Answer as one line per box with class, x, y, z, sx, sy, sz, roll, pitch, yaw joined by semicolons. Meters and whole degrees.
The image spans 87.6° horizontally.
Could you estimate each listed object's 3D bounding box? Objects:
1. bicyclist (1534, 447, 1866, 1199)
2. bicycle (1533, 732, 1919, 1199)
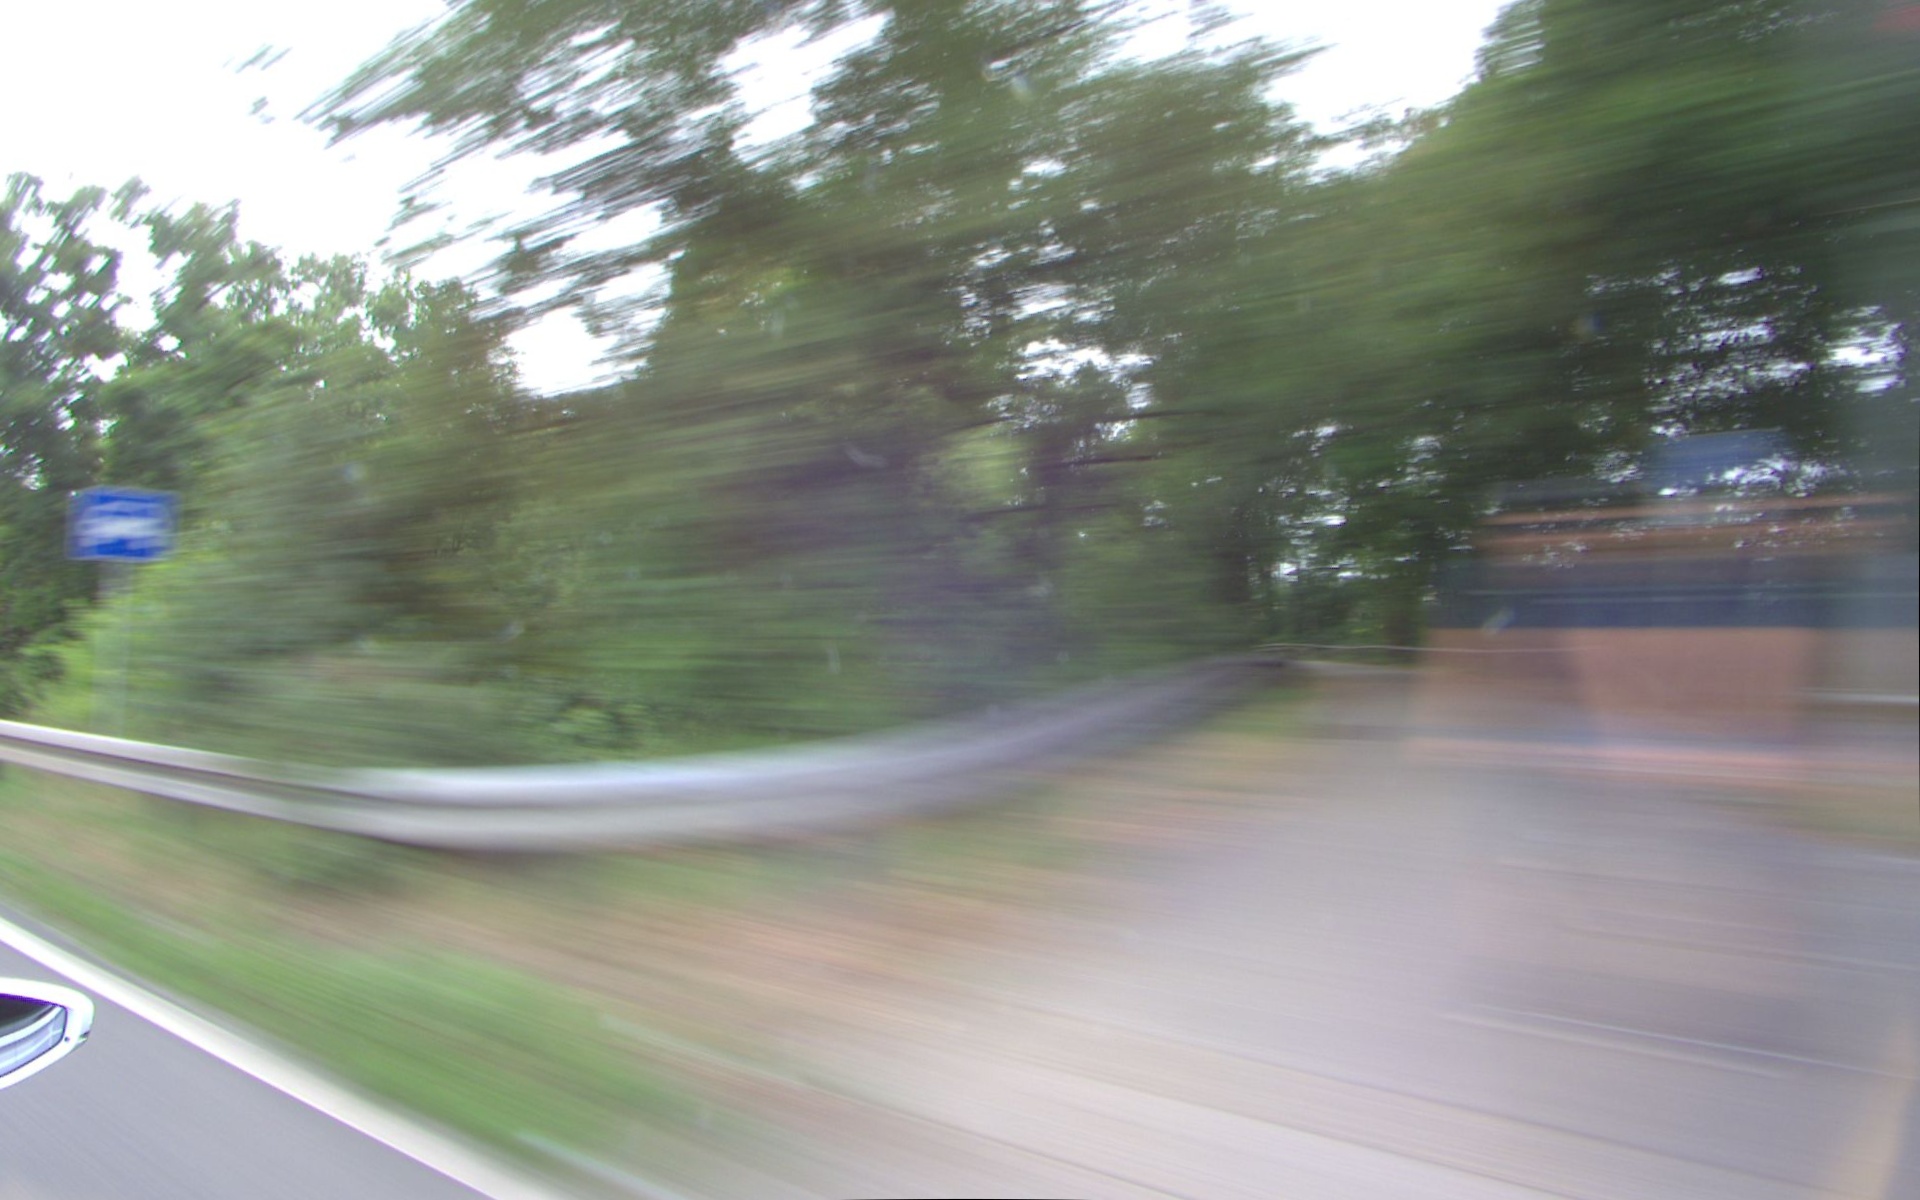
bicyclist;2.126;0.557;3.003;0.654;1.869;0.947;-1;2;28
bicycle;2.147;1.031;3.034;0.651;0.953;1.969;-1;1;28
